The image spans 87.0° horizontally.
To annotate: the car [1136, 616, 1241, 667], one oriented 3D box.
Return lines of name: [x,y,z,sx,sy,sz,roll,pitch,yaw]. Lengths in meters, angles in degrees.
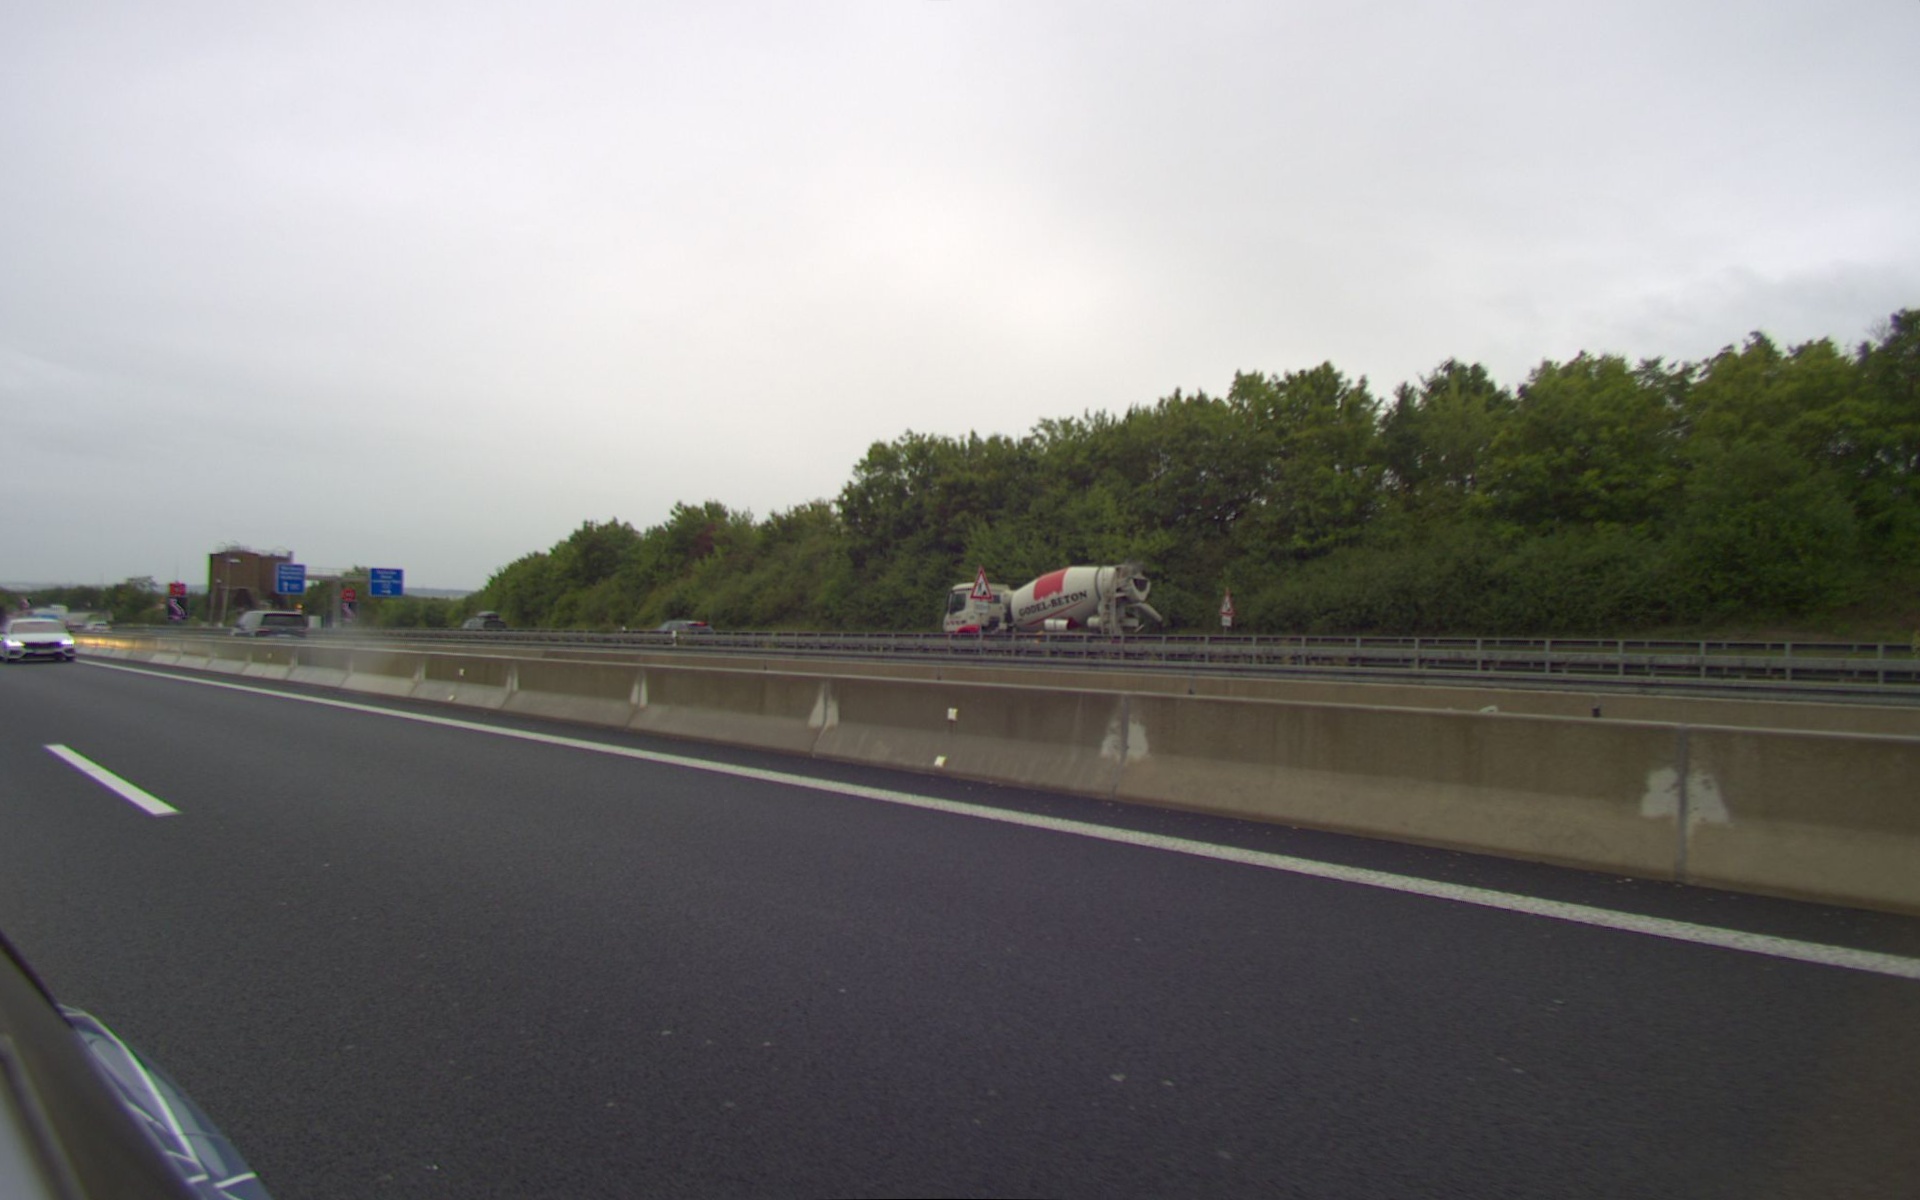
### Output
car: [9.548,1.692,42.486,4.000,2.029,1.730,-1,-2,43]

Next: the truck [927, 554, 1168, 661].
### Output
truck: [3.101,0.367,39.012,9.553,3.689,2.657,-1,-2,41]

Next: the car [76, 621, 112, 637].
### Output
car: [-81.798,2.720,95.585,4.677,1.446,1.973,-1,0,42]

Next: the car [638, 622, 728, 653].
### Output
car: [-13.338,1.761,48.555,4.675,1.417,1.972,-1,-2,42]

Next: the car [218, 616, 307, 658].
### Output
car: [-30.304,1.591,43.914,5.023,1.663,1.973,-1,0,41]

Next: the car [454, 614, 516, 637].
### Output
car: [-30.494,1.623,64.898,4.675,1.417,1.972,-1,-2,42]

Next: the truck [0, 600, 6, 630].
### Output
truck: [-158.156,2.501,164.845,10.486,4.769,3.362,-1,-2,43]

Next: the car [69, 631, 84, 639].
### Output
car: [-155.274,6.145,177.863,3.999,1.409,1.506,-1,-1,42]

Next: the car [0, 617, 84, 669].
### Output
car: [-31.492,1.406,34.393,4.814,1.603,1.973,-2,-1,42]

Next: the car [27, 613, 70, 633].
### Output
car: [-81.508,2.052,90.481,5.906,1.706,2.332,-1,-2,43]
